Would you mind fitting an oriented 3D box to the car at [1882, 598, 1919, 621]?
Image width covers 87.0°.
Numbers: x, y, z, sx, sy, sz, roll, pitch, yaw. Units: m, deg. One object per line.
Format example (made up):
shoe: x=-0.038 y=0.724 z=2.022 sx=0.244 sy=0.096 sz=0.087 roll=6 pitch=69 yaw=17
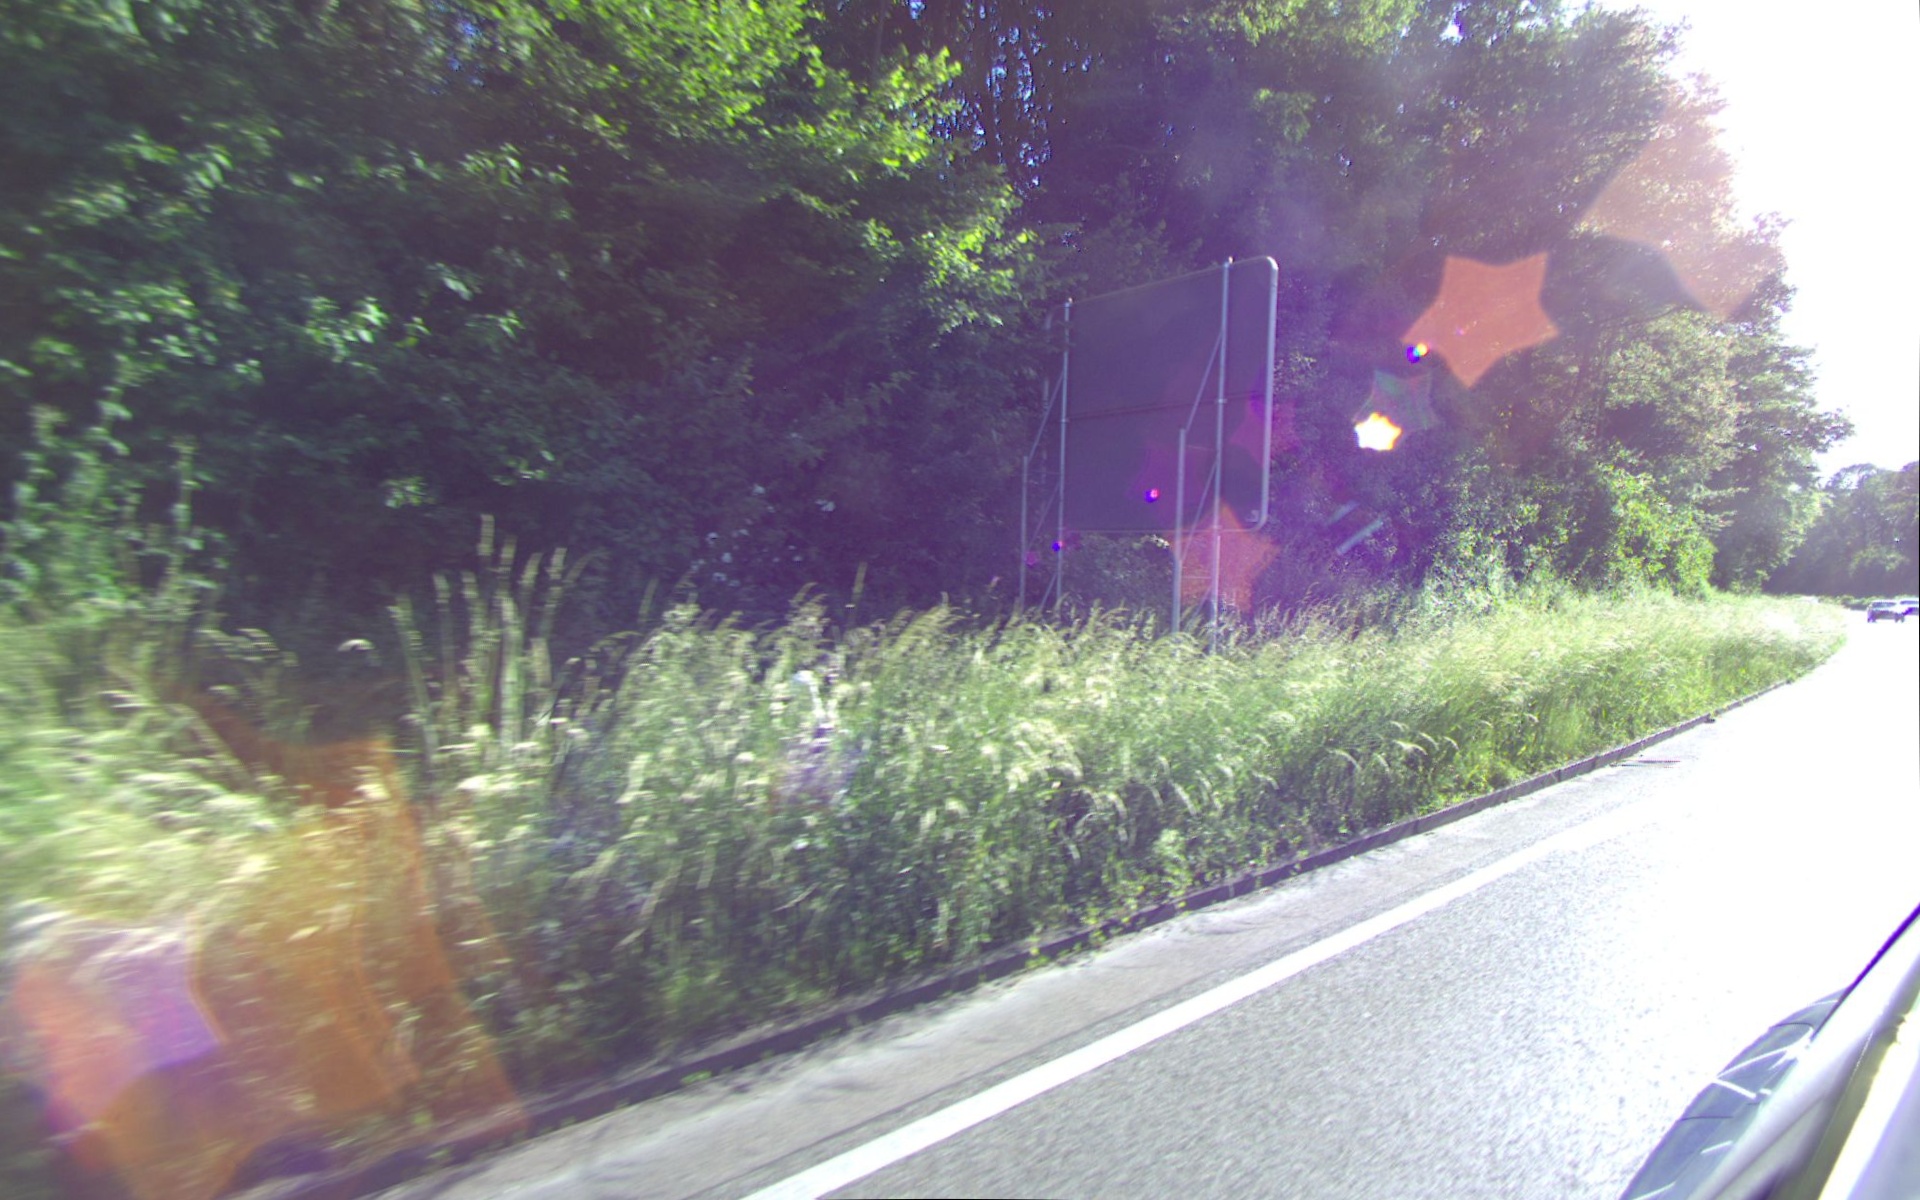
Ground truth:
car: x=65.963 y=0.645 z=70.865 sx=1.928 sy=1.526 sz=5.009 roll=2 pitch=2 yaw=42
